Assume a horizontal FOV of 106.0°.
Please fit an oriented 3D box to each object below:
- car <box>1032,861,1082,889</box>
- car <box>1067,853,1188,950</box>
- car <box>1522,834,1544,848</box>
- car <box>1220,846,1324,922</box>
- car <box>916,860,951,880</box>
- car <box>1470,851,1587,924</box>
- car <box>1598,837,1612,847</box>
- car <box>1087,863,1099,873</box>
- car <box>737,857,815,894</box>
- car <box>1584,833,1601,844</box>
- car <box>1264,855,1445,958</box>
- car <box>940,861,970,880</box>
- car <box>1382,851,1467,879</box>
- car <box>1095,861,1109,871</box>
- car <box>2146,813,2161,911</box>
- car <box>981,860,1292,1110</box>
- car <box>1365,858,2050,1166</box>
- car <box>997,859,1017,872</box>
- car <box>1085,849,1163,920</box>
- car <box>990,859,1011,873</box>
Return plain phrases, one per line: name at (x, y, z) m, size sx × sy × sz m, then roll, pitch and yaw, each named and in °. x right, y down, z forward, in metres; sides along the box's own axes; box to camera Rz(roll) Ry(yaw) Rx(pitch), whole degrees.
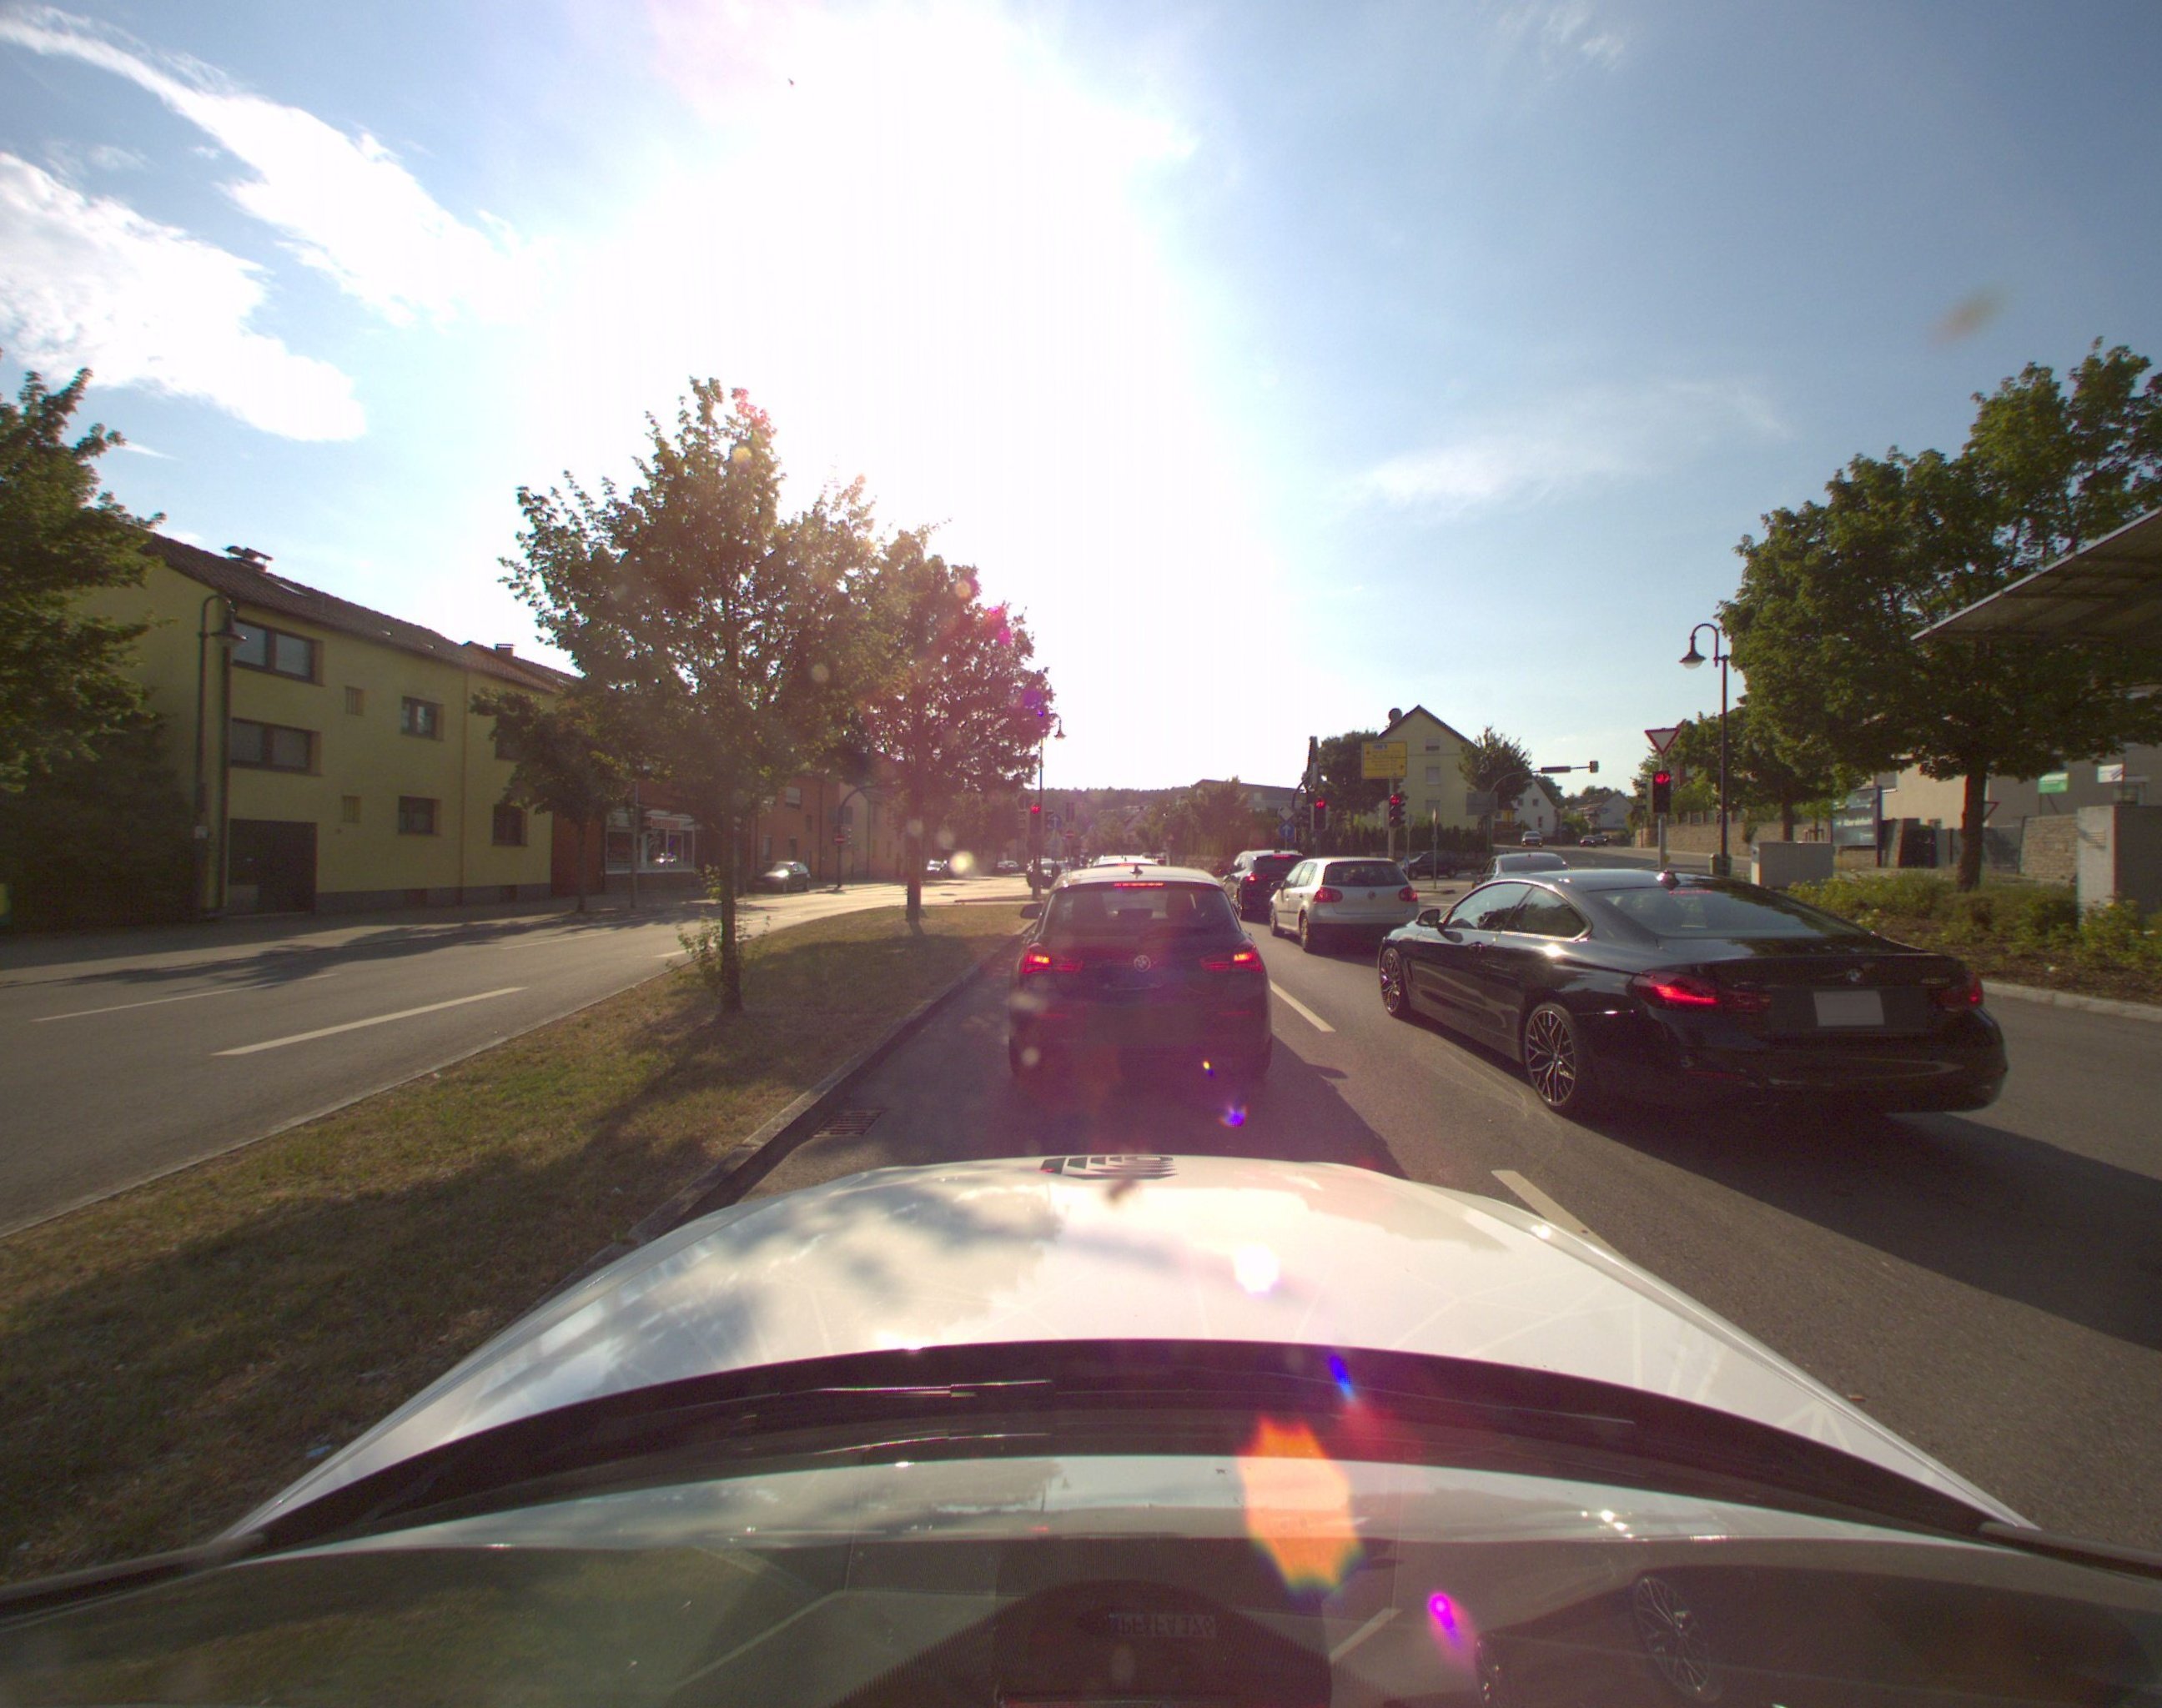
car at (-1.353, 1.100, 44.348) m, size 1.770 × 1.458 × 3.978 m, roll 0°, pitch 0°, yaw -16°
car at (0.832, 0.728, 14.435) m, size 1.808 × 1.451 × 4.245 m, roll -1°, pitch 0°, yaw 3°
car at (41.725, -1.231, 75.125) m, size 1.694 × 1.244 × 4.025 m, roll -1°, pitch 1°, yaw 29°
car at (4.608, 0.671, 20.237) m, size 1.808 × 1.666 × 4.351 m, roll -1°, pitch 0°, yaw 3°
car at (-12.242, 1.336, 67.674) m, size 1.916 × 1.596 × 4.004 m, roll 0°, pitch 0°, yaw 4°
car at (9.880, 0.657, 18.302) m, size 1.667 × 1.435 × 4.613 m, roll -1°, pitch 0°, yaw 21°
car at (87.578, -1.978, 136.151) m, size 1.759 × 1.580 × 4.025 m, roll -1°, pitch 0°, yaw 35°
car at (2.219, 2.513, 148.580) m, size 1.887 × 1.702 × 4.518 m, roll -2°, pitch 0°, yaw -4°
car at (-14.177, 0.951, 38.107) m, size 1.834 × 1.552 × 4.005 m, roll 2°, pitch 0°, yaw 5°
car at (73.525, -2.223, 117.110) m, size 1.759 × 1.580 × 4.025 m, roll -1°, pitch 0°, yaw 37°
car at (4.348, 0.748, 13.691) m, size 1.808 × 1.446 × 4.351 m, roll -1°, pitch 0°, yaw 3°
car at (-11.374, 1.477, 73.747) m, size 1.916 × 1.596 × 4.004 m, roll 0°, pitch 0°, yaw 4°
car at (18.855, 0.582, 44.712) m, size 4.061 × 1.507 × 1.783 m, roll 0°, pitch 0°, yaw -14°
car at (3.224, 1.792, 126.834) m, size 1.858 × 1.485 × 4.652 m, roll 0°, pitch 0°, yaw -4°
car at (19.507, 0.115, 12.240) m, size 3.958 × 1.608 × 1.861 m, roll 0°, pitch 0°, yaw 14°
car at (0.443, 0.775, 6.890) m, size 1.783 × 1.414 × 4.351 m, roll -1°, pitch 0°, yaw 3°
car at (3.616, 0.735, 5.910) m, size 1.808 × 1.388 × 4.351 m, roll -1°, pitch 0°, yaw 3°
car at (-9.311, 1.384, 103.225) m, size 1.916 × 1.596 × 4.004 m, roll 0°, pitch 0°, yaw 4°
car at (1.134, 0.728, 21.166) m, size 1.808 × 1.641 × 4.245 m, roll -1°, pitch 0°, yaw 3°
car at (-9.618, 1.375, 97.724) m, size 1.916 × 1.596 × 4.004 m, roll 0°, pitch 0°, yaw 4°
